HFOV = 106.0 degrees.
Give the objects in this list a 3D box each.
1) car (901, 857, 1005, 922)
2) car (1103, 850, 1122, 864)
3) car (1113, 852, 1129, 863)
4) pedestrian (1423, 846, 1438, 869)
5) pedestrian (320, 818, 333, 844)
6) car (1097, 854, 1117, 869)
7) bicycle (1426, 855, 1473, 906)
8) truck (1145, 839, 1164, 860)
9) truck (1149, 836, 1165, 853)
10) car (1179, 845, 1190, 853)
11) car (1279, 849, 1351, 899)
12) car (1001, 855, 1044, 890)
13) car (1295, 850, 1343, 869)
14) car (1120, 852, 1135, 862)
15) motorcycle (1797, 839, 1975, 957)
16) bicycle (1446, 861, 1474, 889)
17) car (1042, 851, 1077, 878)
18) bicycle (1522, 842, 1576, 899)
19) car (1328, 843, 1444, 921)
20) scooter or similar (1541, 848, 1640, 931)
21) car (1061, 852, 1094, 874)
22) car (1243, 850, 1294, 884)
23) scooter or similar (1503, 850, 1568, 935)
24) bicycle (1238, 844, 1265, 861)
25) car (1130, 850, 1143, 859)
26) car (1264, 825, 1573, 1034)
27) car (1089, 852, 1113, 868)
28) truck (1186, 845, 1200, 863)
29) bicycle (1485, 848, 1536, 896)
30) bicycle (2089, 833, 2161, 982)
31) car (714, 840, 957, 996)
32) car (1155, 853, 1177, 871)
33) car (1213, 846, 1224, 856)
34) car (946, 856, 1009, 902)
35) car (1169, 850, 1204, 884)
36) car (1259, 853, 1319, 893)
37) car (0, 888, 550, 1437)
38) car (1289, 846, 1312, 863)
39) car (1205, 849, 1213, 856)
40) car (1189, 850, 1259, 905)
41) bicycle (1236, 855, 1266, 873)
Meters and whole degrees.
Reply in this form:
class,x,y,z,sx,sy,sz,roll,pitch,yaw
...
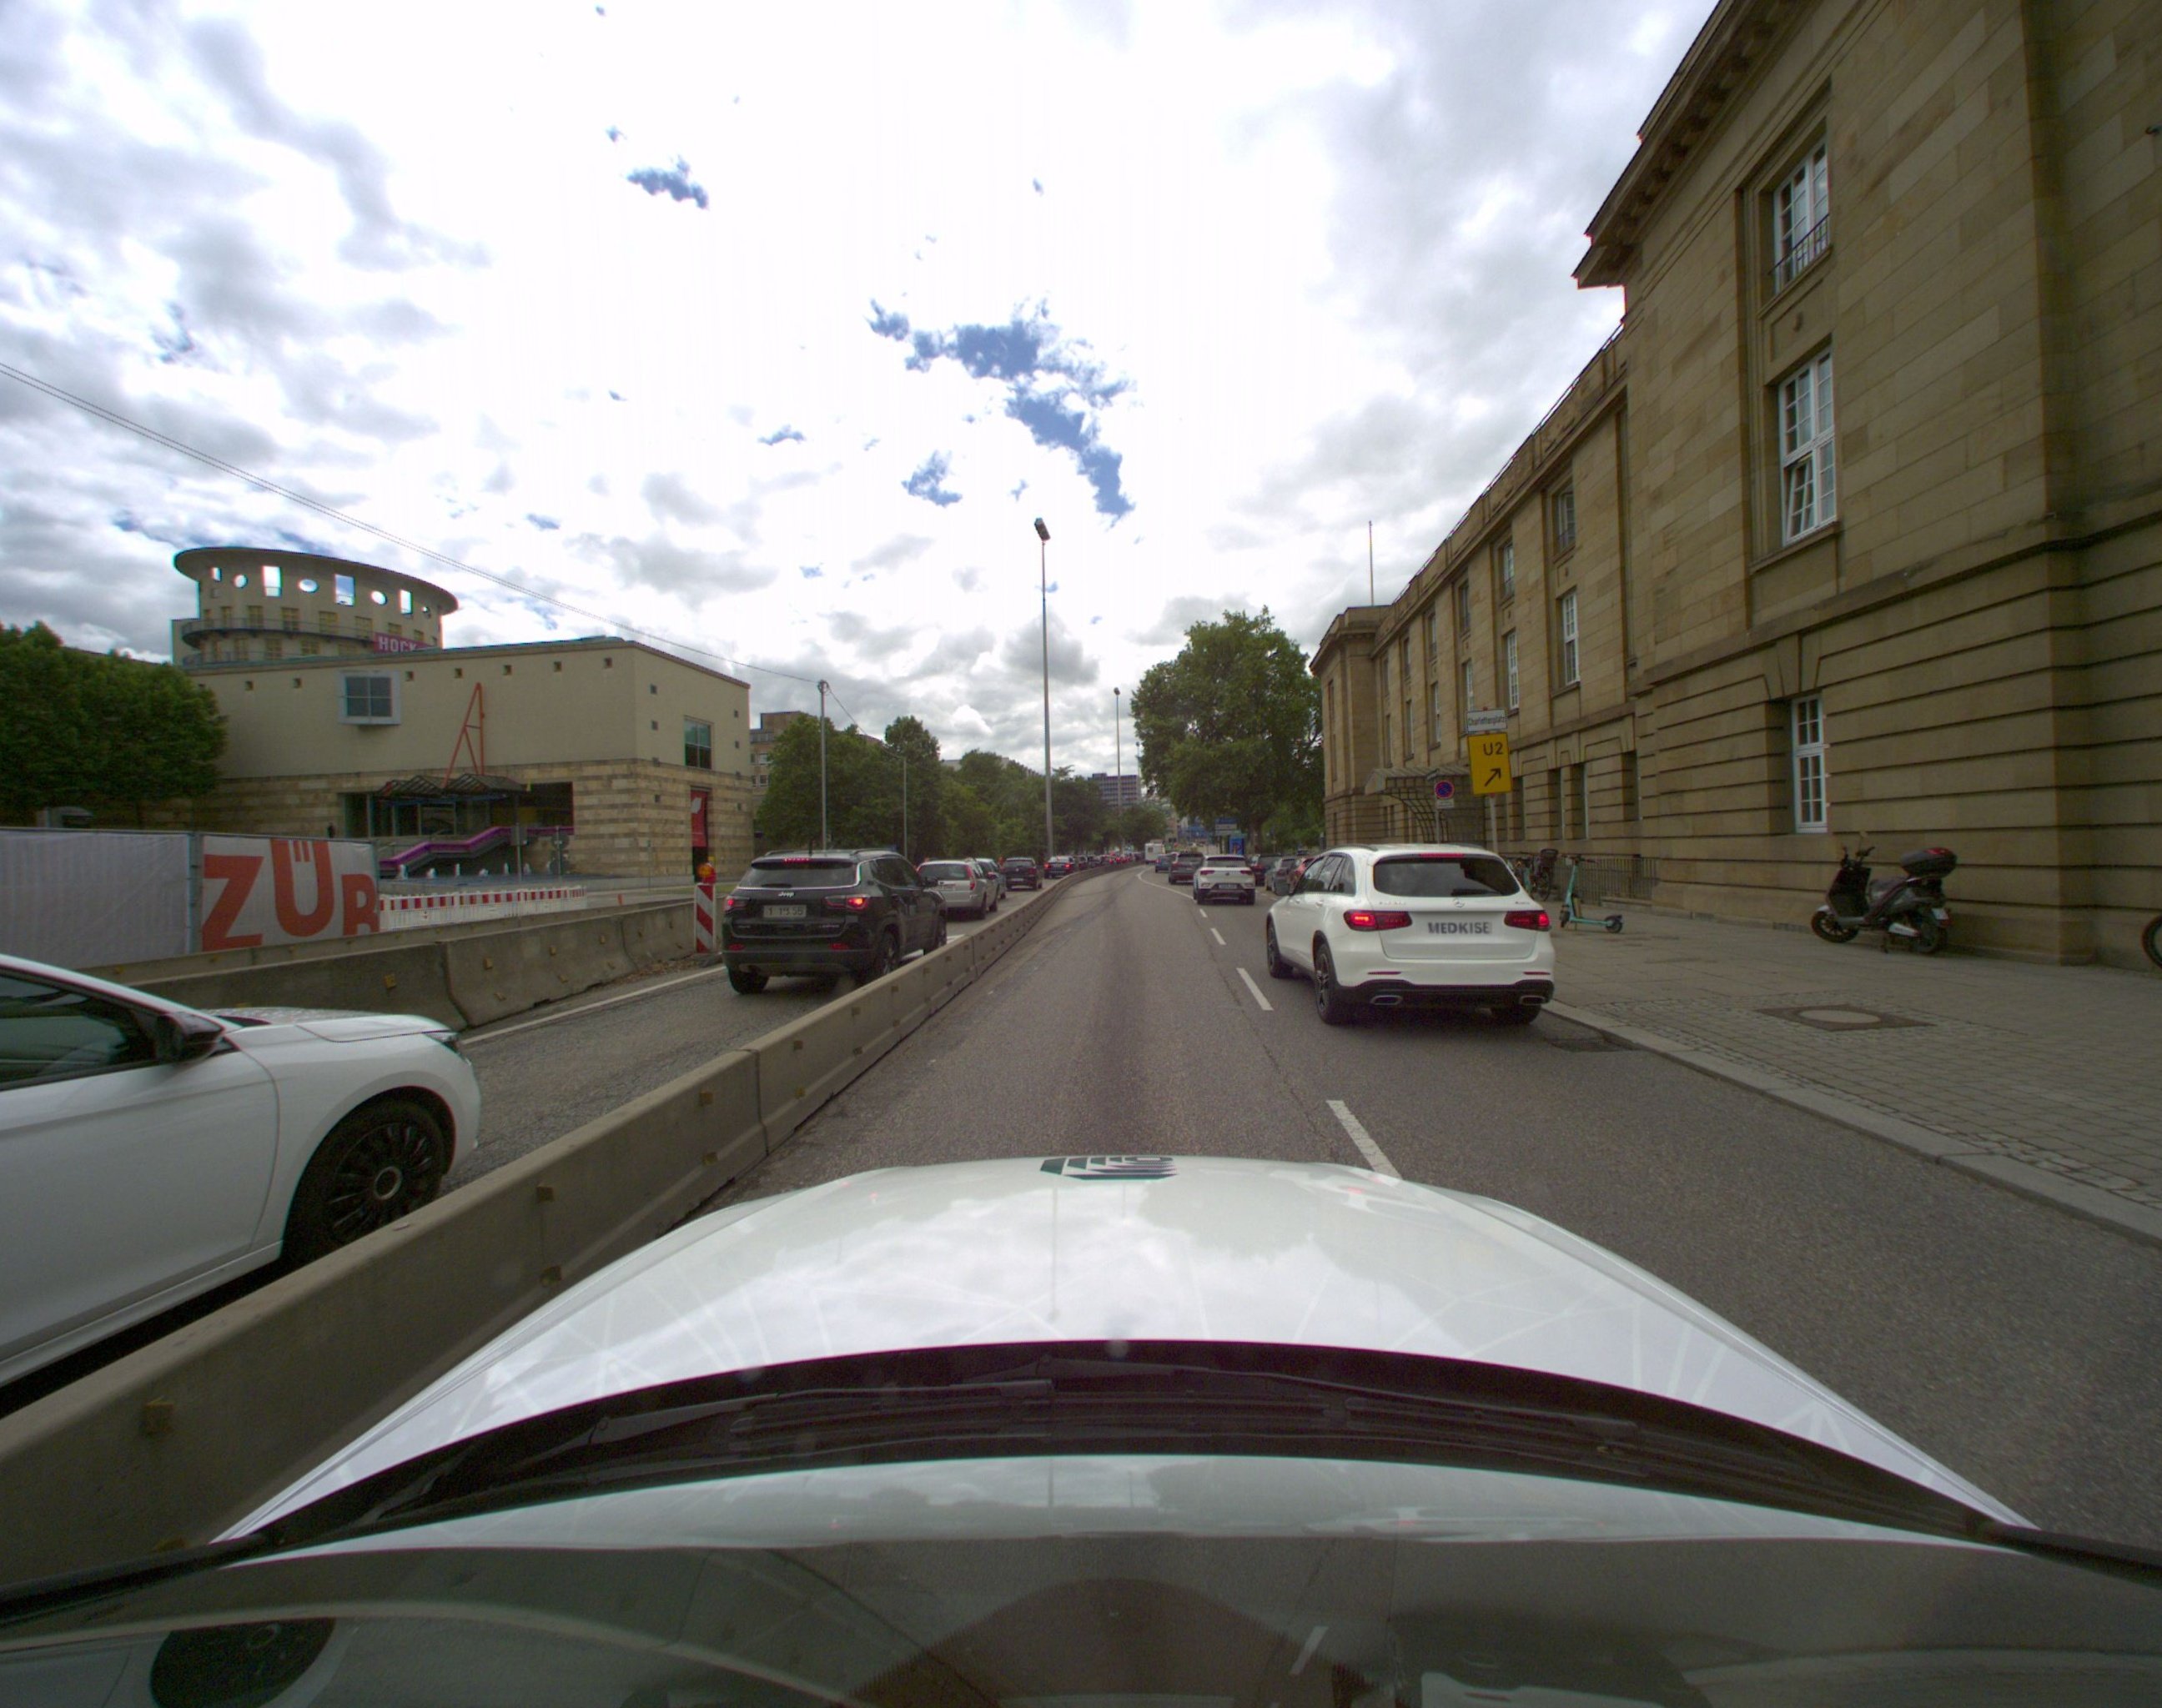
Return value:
class,x,y,z,sx,sy,sz,roll,pitch,yaw
car,-3.178,0.821,21.138,1.872,1.481,4.705,-1,0,1
car,3.514,0.313,90.405,1.767,1.420,4.007,-1,0,6
car,4.844,0.388,97.914,1.650,1.319,3.554,-1,0,7
pedestrian,13.455,0.141,31.351,0.426,0.873,0.374,0,-1,8
pedestrian,-59.963,-1.834,64.748,0.409,2.014,0.602,1,-1,7
car,2.658,0.781,82.031,1.652,1.436,3.968,-1,0,7
bicycle,8.813,0.603,19.532,0.457,1.156,1.834,-2,0,6
truck,10.573,-0.635,116.767,2.607,2.861,7.092,0,0,7
truck,14.103,-1.703,151.057,2.677,2.992,5.648,1,0,7
car,19.279,-0.929,151.949,1.935,1.319,4.026,-1,0,9
car,7.657,0.615,26.971,1.607,1.455,3.865,-3,0,7
car,-2.591,0.801,36.719,1.654,1.454,4.197,-1,0,0
car,20.855,0.435,71.338,3.815,1.568,1.683,-1,0,7
car,6.405,0.356,112.356,1.649,1.319,3.556,-1,0,9
motorcycle,9.436,0.469,9.655,0.452,1.242,1.928,-3,0,10
bicycle,12.056,0.652,25.952,0.304,0.844,1.883,0,0,9
car,-1.366,0.658,52.819,1.916,1.636,4.939,-1,0,2
bicycle,11.163,0.377,19.474,0.410,1.288,1.794,-2,0,7
car,7.060,0.588,19.212,1.538,1.552,3.714,-4,0,5
scooter or similar,8.094,0.555,12.995,0.451,1.253,1.363,-1,-2,-13
car,-0.183,0.627,60.869,1.806,1.499,4.779,-1,0,7
car,8.845,0.587,38.700,1.779,1.486,4.331,-1,0,5
scooter or similar,7.211,0.580,12.972,0.377,1.261,1.406,-2,0,7
bicycle,11.065,-0.090,52.868,1.714,1.091,0.382,0,0,20
car,8.384,0.116,123.463,1.649,1.319,3.556,-1,0,9
car,3.159,0.589,8.654,1.779,1.625,4.443,1,0,5
car,1.815,0.561,74.059,1.669,1.367,4.552,-1,0,7
truck,25.063,0.000,182.128,2.861,4.103,6.653,0,0,8
bicycle,11.533,0.465,21.941,0.552,1.217,1.919,-2,0,7
bicycle,9.338,0.443,6.320,0.606,1.224,1.965,-4,0,4
car,-2.885,0.682,10.557,1.769,1.621,4.049,-1,0,2
car,6.871,0.626,65.345,1.650,1.413,3.554,-1,0,7
car,27.704,-0.644,164.014,1.982,2.013,4.010,-1,0,9
car,-3.529,0.816,28.393,1.667,1.507,3.854,-1,0,0
car,5.387,0.652,41.784,1.651,1.639,3.552,-1,0,5
car,8.133,0.703,32.106,1.700,1.426,4.004,-3,0,6
car,-3.558,0.814,2.058,1.719,1.296,3.937,-1,0,2
car,22.539,0.057,83.678,1.750,1.551,4.037,-1,2,9
car,29.078,-0.358,184.645,1.748,1.669,4.177,-1,0,8
car,4.525,0.694,26.243,1.788,1.608,3.758,-2,0,3
bicycle,10.253,0.627,49.144,1.647,1.074,0.588,-1,0,26
